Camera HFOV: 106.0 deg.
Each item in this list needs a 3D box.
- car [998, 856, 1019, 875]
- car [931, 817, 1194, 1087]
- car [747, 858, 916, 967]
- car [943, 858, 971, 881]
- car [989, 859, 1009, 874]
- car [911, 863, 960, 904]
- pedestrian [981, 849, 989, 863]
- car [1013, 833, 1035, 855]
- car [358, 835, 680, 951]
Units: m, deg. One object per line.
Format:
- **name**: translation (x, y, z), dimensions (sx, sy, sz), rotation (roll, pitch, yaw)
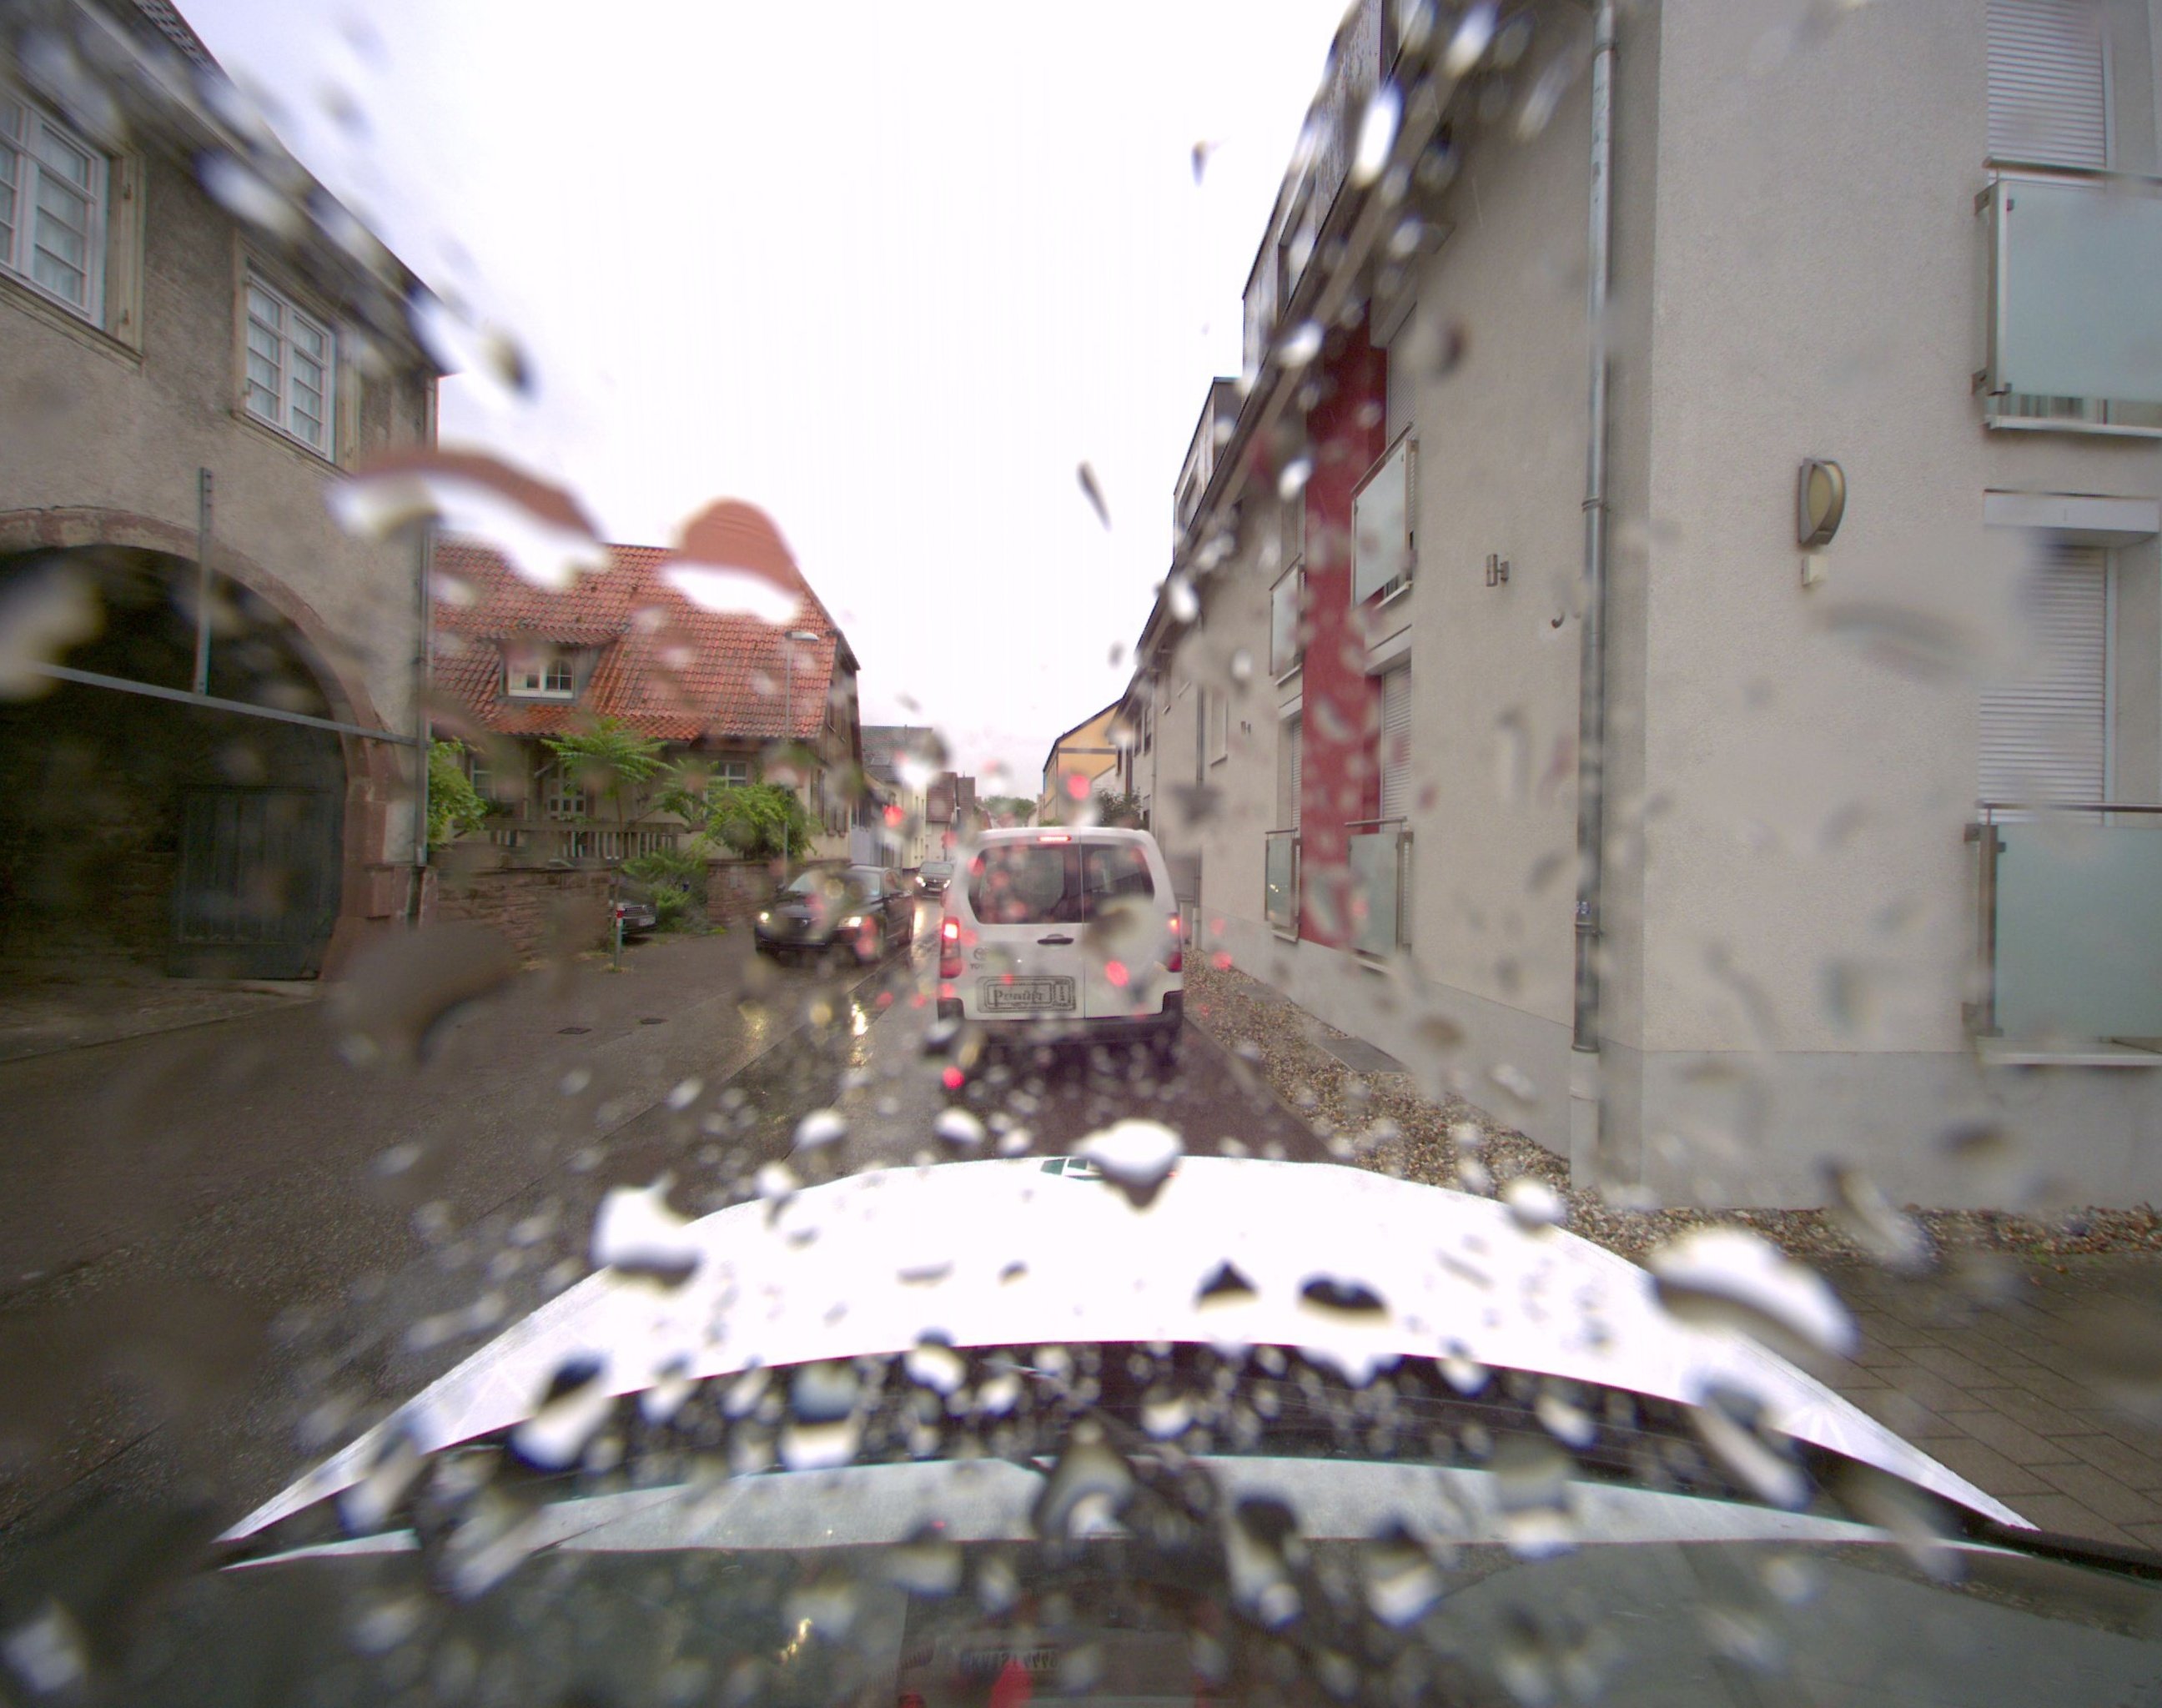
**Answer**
- **car**: translation (-5.971, 0.916, 66.997), dimensions (1.559, 1.477, 3.990), rotation (0, -1, -7)
- **car**: translation (-0.331, 0.655, 7.471), dimensions (1.773, 1.780, 3.991), rotation (0, -1, -7)
- **car**: translation (-3.909, 0.837, 13.517), dimensions (1.692, 1.509, 4.335), rotation (0, -1, -4)
- **car**: translation (-8.745, 1.075, 57.886), dimensions (1.831, 1.556, 4.228), rotation (1, -1, -7)
- **car**: translation (-7.581, 1.133, 75.190), dimensions (1.778, 1.395, 3.989), rotation (0, -1, -7)
- **car**: translation (-5.836, 1.148, 32.927), dimensions (1.602, 1.513, 3.681), rotation (1, 0, -5)
- **pedestrian**: translation (-12.985, 0.299, 109.622), dimensions (1.049, 1.893, 0.875), rotation (0, -1, -7)
- **car**: translation (-5.302, -0.920, 76.698), dimensions (1.989, 2.014, 3.995), rotation (0, -1, -3)
- **car**: translation (-9.119, 0.619, 13.451), dimensions (3.973, 1.425, 1.736), rotation (5, -1, 1)
